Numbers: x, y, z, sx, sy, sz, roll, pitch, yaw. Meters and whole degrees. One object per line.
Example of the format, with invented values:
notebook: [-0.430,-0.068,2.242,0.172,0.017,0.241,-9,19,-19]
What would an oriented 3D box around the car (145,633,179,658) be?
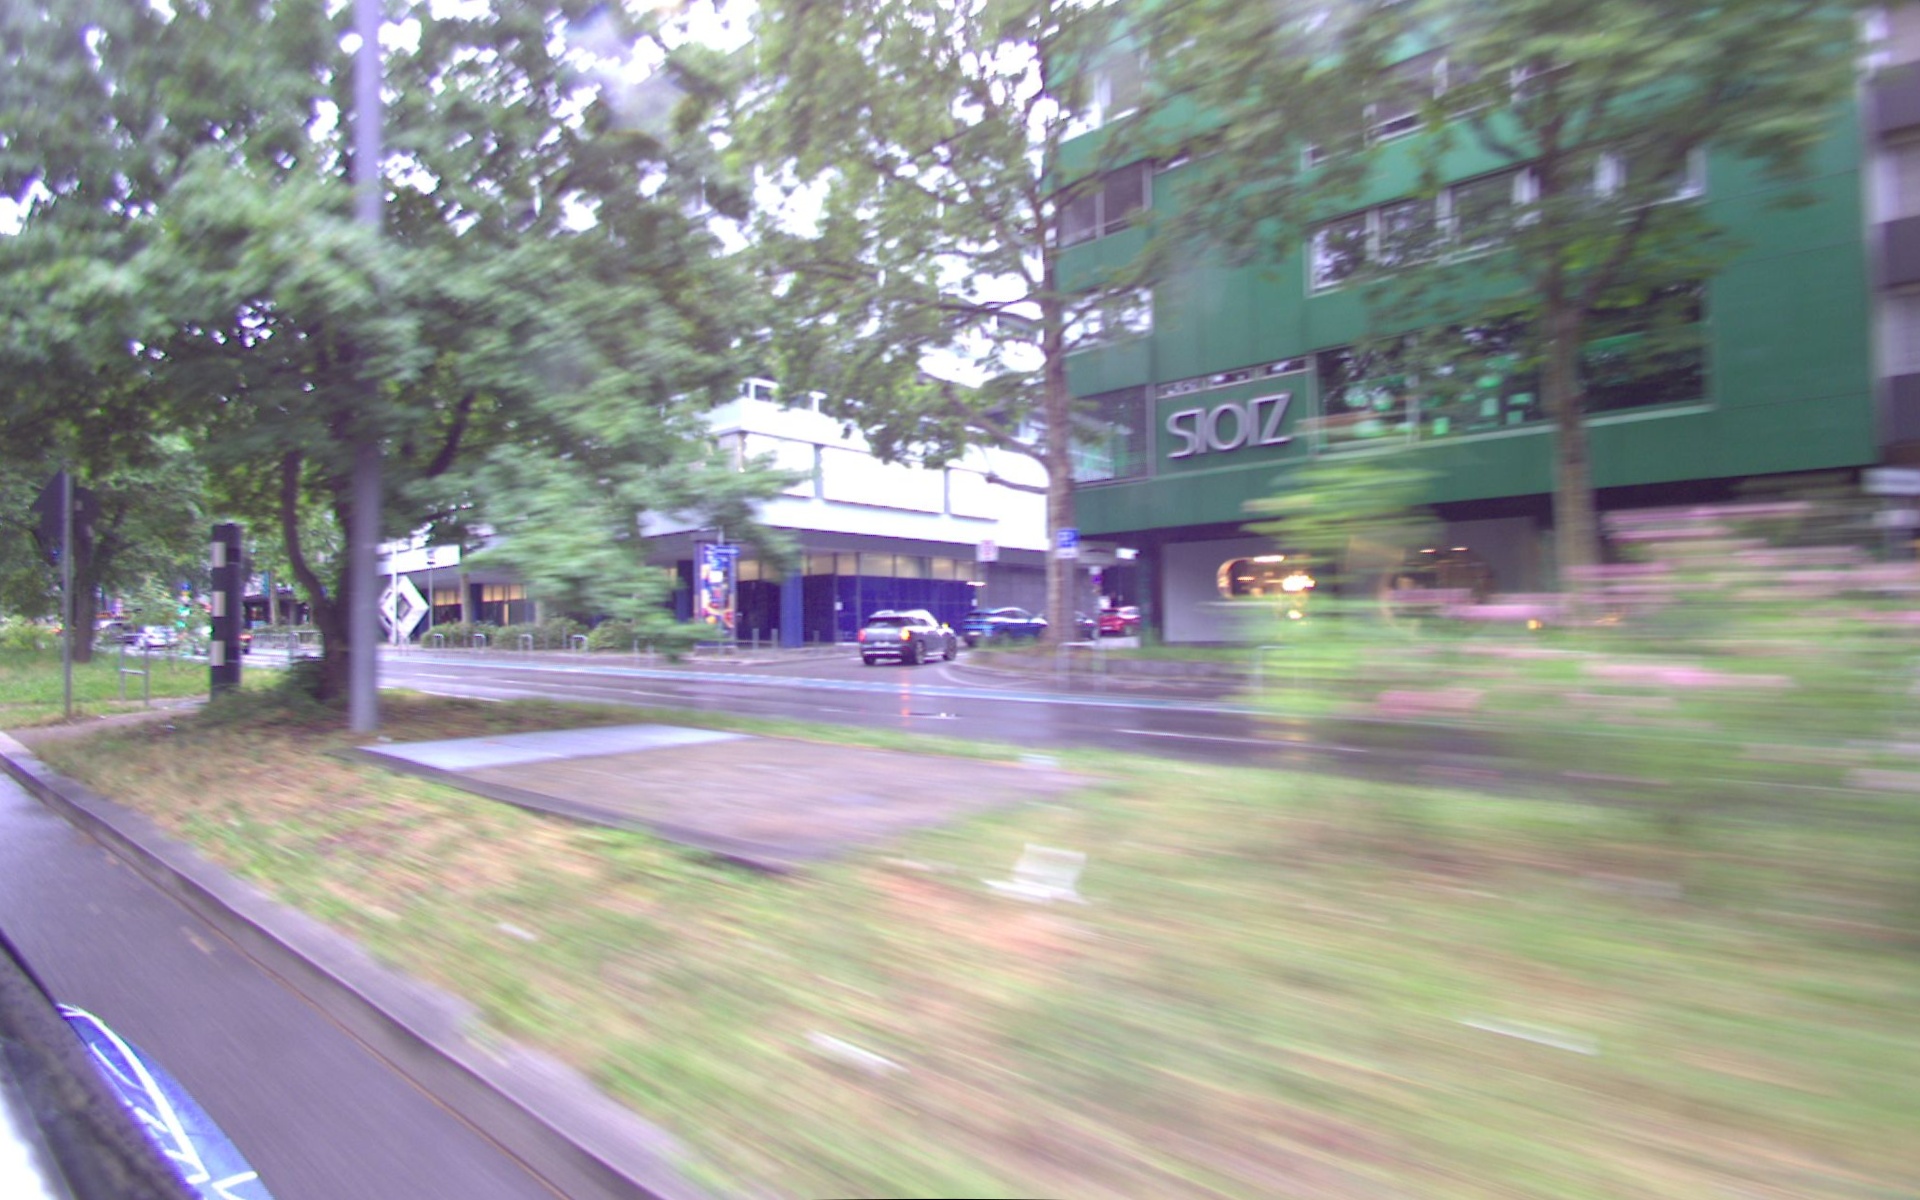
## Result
car: [-48.501,2.758,61.504,3.561,1.473,1.148,-2,-2,44]

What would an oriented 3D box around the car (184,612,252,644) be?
car: [-37.343,1.438,50.898,4.757,1.503,1.971,-2,-3,44]

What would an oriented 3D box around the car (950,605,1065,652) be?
car: [2.029,1.133,41.846,2.001,1.705,4.932,-1,0,44]

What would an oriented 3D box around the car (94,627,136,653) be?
car: [-61.889,2.939,74.092,1.970,1.815,4.284,1,-2,-44]
